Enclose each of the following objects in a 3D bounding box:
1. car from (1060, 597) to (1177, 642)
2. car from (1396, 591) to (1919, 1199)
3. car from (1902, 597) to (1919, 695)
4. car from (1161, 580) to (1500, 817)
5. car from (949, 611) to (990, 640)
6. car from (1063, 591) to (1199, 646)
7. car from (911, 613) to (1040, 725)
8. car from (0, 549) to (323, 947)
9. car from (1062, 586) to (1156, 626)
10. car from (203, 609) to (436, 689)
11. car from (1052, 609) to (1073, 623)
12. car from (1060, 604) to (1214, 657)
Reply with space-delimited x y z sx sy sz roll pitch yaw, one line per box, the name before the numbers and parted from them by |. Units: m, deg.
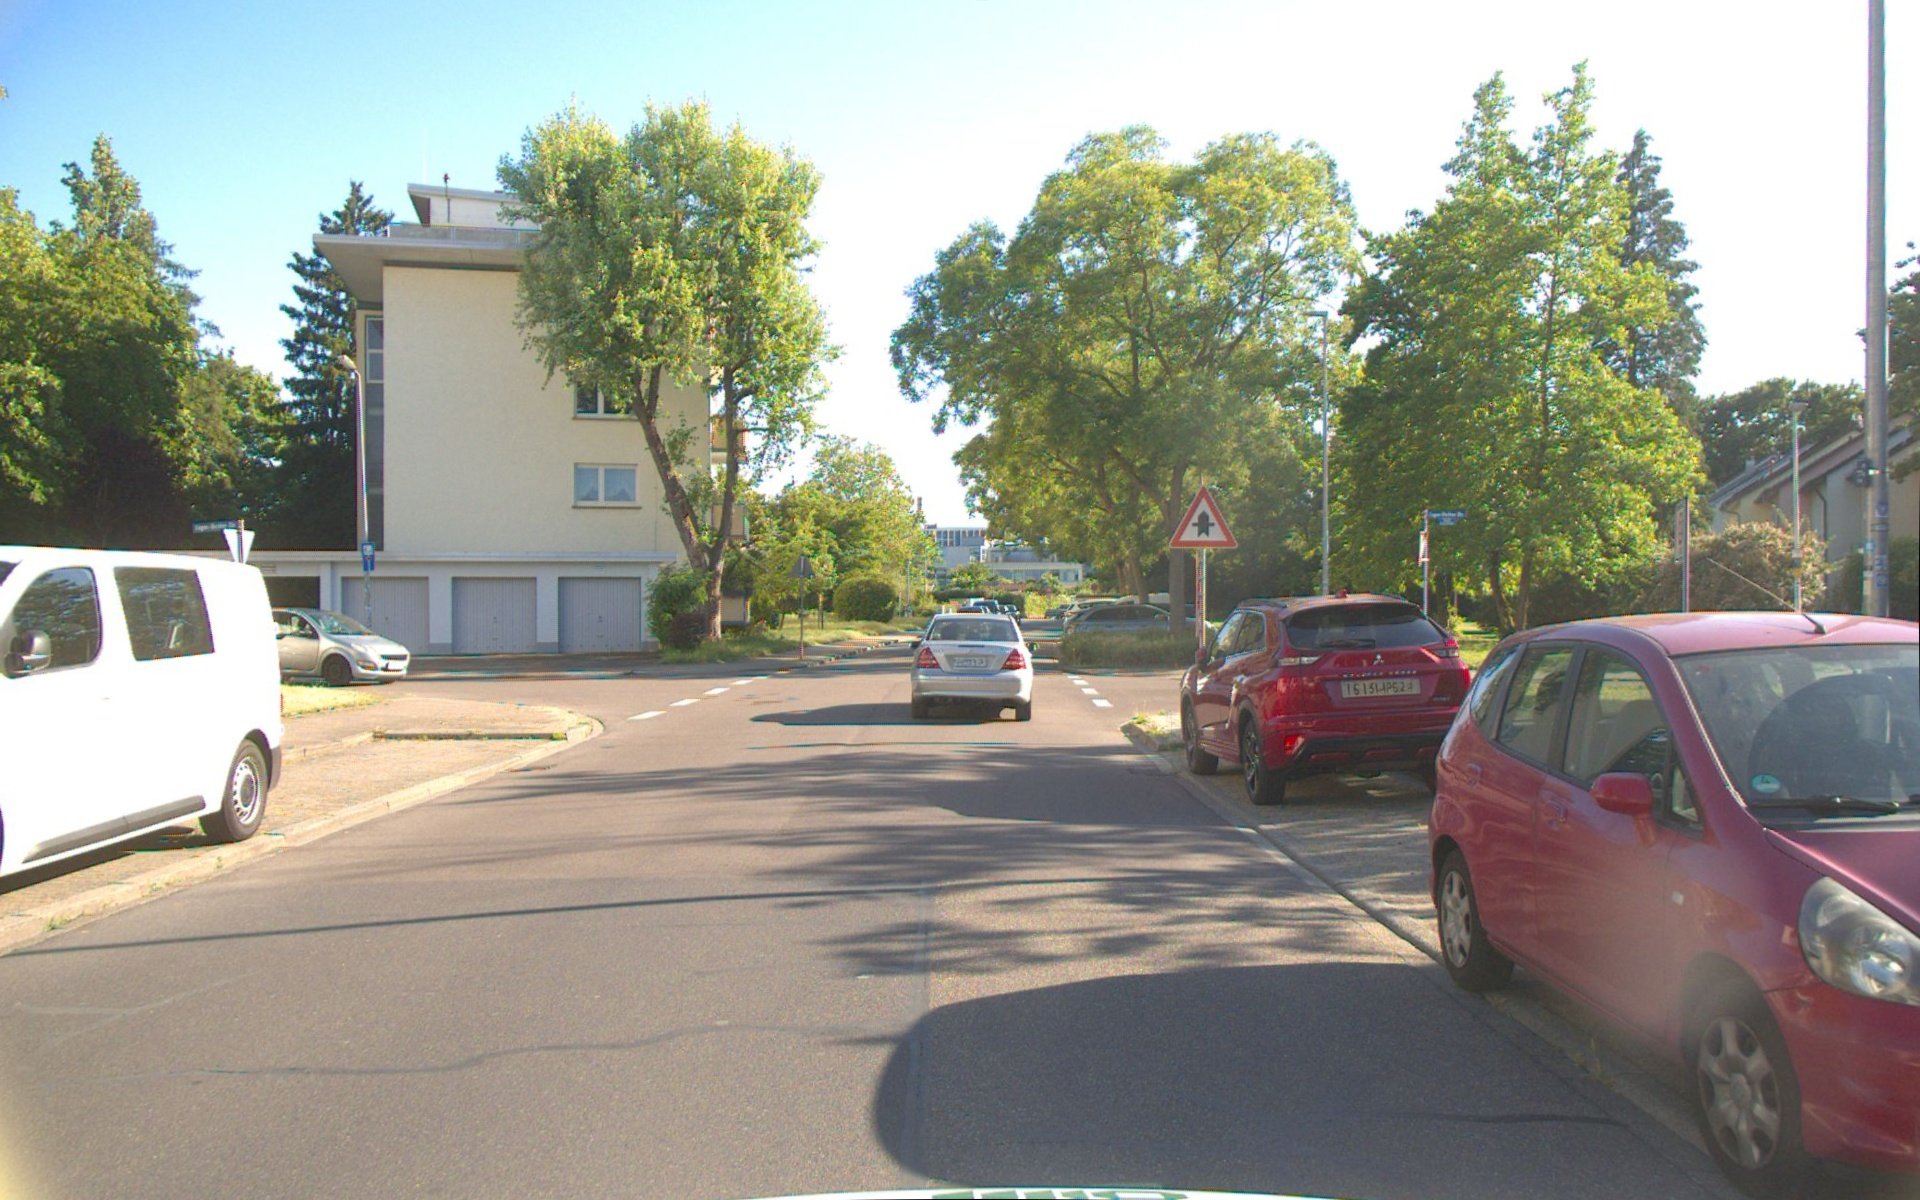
car | 6.650 0.814 69.466 4.781 1.754 2.001 -2 0 4
car | 2.909 0.729 5.759 1.657 1.500 3.999 -1 0 -1
car | 17.526 0.789 27.472 2.891 1.590 1.703 0 3 12
car | 3.108 0.757 14.910 1.739 1.709 4.642 -3 0 -3
car | 0.582 1.424 94.785 1.872 1.516 3.839 -3 -1 6
car | 6.368 0.681 62.021 4.787 1.957 1.999 -1 0 -4
car | 0.191 0.938 23.377 1.697 1.459 3.437 0 -1 -1
car | -5.606 0.706 9.358 1.973 1.919 5.190 1 -1 0
car | 8.312 0.340 92.023 5.107 2.095 2.001 -1 0 6
car | -12.487 0.914 32.310 3.846 1.486 1.999 0 0 17
car | 11.058 1.740 177.873 1.853 1.529 3.659 0 0 9
car | 5.510 0.948 51.955 4.683 1.576 2.012 0 0 1
